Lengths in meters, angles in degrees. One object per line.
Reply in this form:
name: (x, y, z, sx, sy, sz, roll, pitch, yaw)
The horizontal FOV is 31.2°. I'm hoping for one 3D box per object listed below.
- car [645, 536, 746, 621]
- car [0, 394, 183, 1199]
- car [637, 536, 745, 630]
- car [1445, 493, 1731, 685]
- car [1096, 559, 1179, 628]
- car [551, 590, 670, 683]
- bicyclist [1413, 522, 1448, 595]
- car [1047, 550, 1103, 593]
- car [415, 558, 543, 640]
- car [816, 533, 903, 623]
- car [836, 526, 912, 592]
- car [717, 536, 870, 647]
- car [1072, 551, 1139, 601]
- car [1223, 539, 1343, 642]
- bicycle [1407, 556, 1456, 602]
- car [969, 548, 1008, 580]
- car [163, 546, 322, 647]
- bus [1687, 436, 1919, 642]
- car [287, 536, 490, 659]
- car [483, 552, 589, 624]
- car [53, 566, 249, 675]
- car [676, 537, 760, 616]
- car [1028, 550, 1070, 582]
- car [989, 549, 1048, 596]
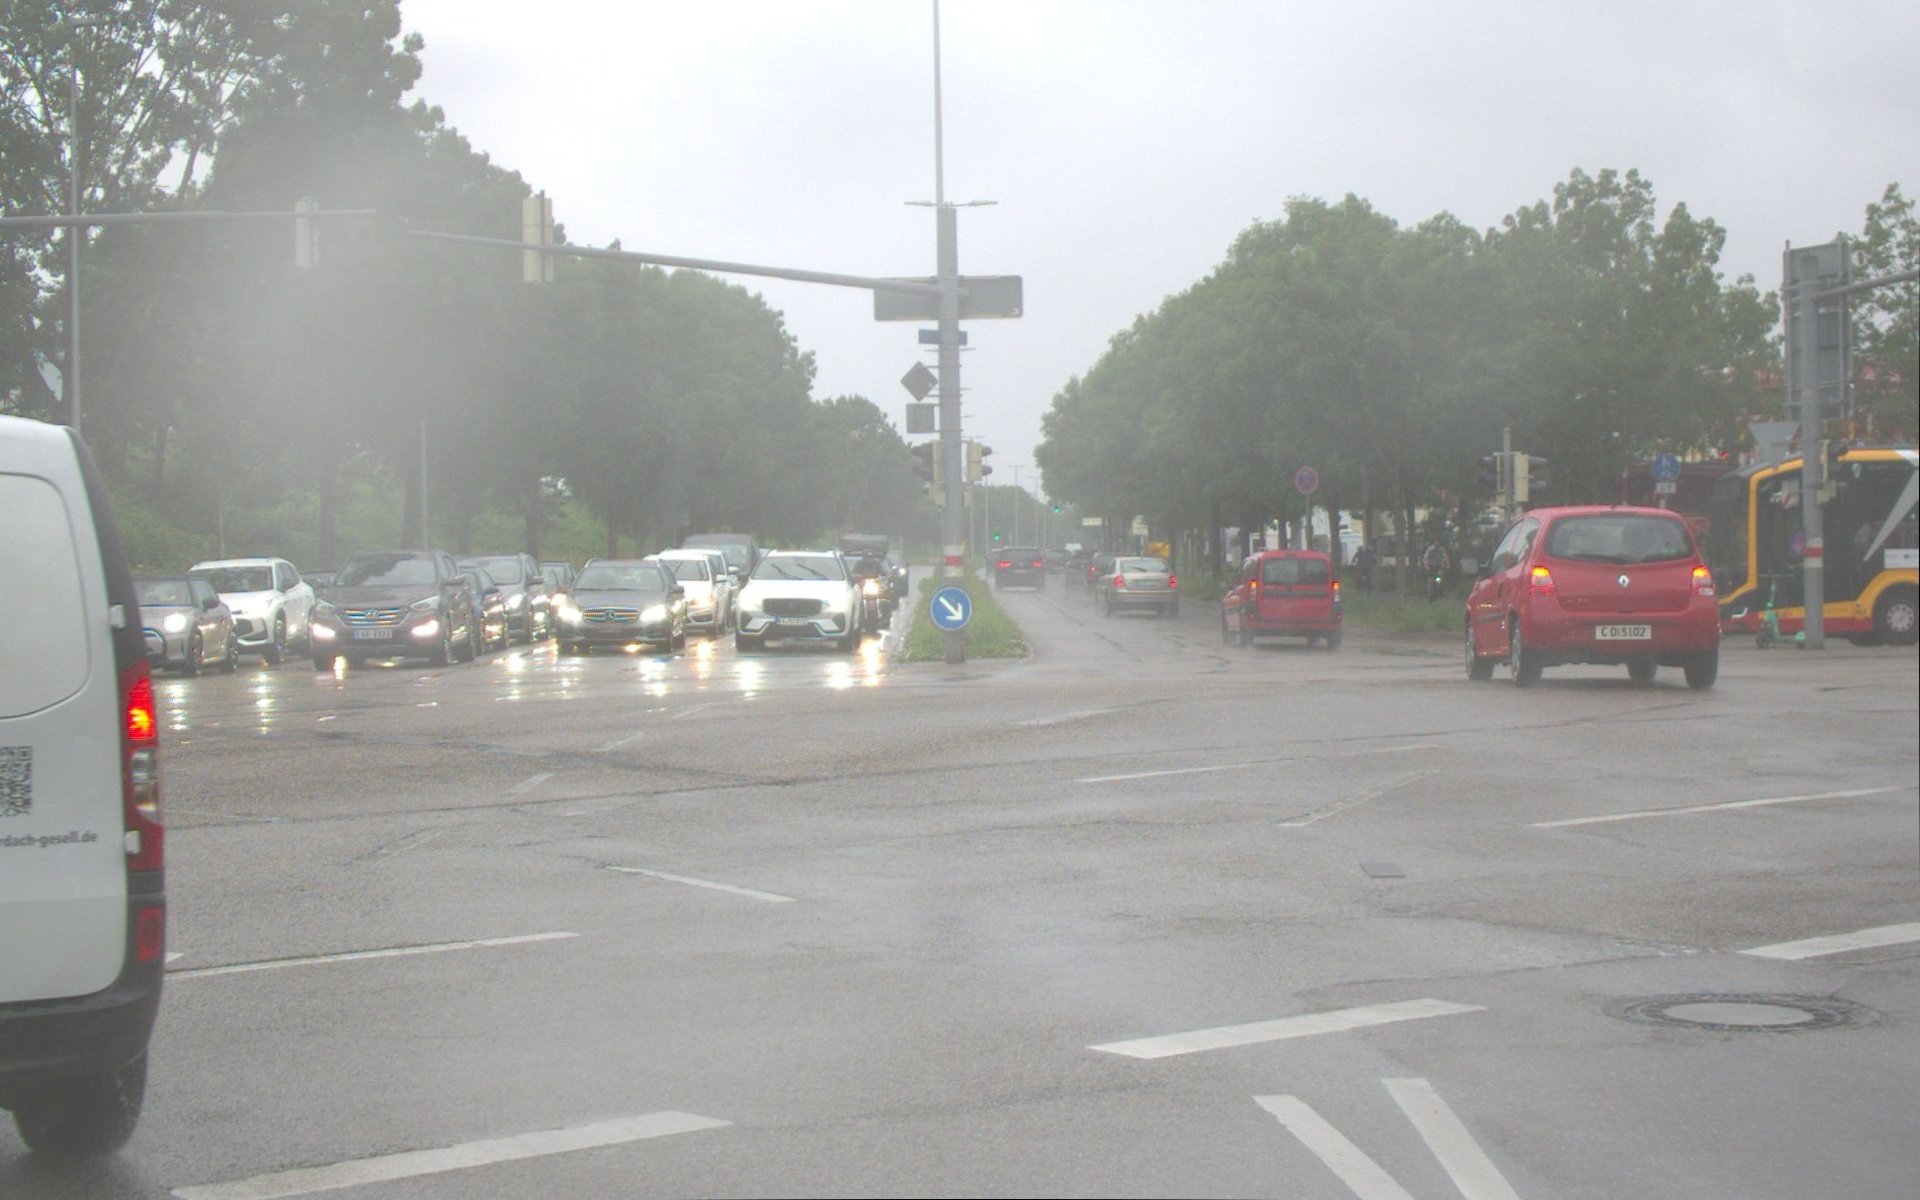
car: (-5.559, -0.479, 72.647, 1.845, 1.714, 4.000, -1, 1, 0)
car: (-3.490, 0.388, 8.737, 1.756, 1.771, 4.000, 1, 1, -31)
car: (-5.159, -0.350, 66.333, 1.864, 1.714, 4.000, -1, 1, -2)
car: (5.138, -0.119, 28.556, 1.678, 1.486, 3.621, 0, 1, 0)
car: (4.284, -0.175, 83.525, 1.842, 1.612, 4.000, 1, 1, 1)
car: (-5.636, 0.558, 55.323, 1.827, 1.353, 4.001, -1, 1, -6)
bicyclist: (12.275, -1.090, 89.713, 0.767, 1.875, 0.622, -1, 1, -3)
car: (4.458, -1.121, 133.708, 1.996, 1.612, 4.000, -1, 1, -1)
car: (-8.532, -0.038, 61.278, 1.827, 1.353, 4.001, -1, 1, -2)
car: (-2.030, -0.466, 68.530, 1.599, 1.714, 4.001, -1, 1, -3)
car: (-2.360, -1.139, 93.486, 1.938, 1.714, 4.001, -1, 1, -3)
car: (-2.719, -0.174, 57.136, 2.169, 1.714, 4.303, -1, 1, 2)
car: (4.886, -0.820, 115.603, 1.996, 1.612, 4.000, -1, 1, -1)
car: (5.410, -0.181, 57.878, 1.632, 1.650, 3.485, 1, 1, 0)
bicycle: (12.289, -0.566, 89.670, 0.819, 1.161, 2.260, -1, 1, -3)
car: (1.503, -1.924, 183.234, 1.996, 1.612, 4.000, -1, 1, -1)
car: (-11.217, -0.081, 53.951, 1.827, 1.477, 4.001, -1, 1, -3)
bus: (18.553, -1.090, 56.976, 12.249, 3.257, 3.275, -1, 1, -1)
car: (-8.180, -0.069, 49.520, 2.022, 1.651, 4.061, -1, 1, 3)
car: (-8.464, -0.266, 68.867, 1.827, 1.353, 4.001, -1, 1, -3)
car: (-11.142, 0.256, 47.624, 1.892, 1.344, 4.001, -1, 2, -2)
car: (-5.433, -0.553, 77.520, 1.654, 1.714, 4.000, -1, 1, -1)
car: (4.536, -1.751, 175.902, 1.996, 1.612, 4.000, -1, 1, -1)
car: (2.125, -1.009, 125.231, 1.996, 1.612, 4.000, -1, 1, -1)
